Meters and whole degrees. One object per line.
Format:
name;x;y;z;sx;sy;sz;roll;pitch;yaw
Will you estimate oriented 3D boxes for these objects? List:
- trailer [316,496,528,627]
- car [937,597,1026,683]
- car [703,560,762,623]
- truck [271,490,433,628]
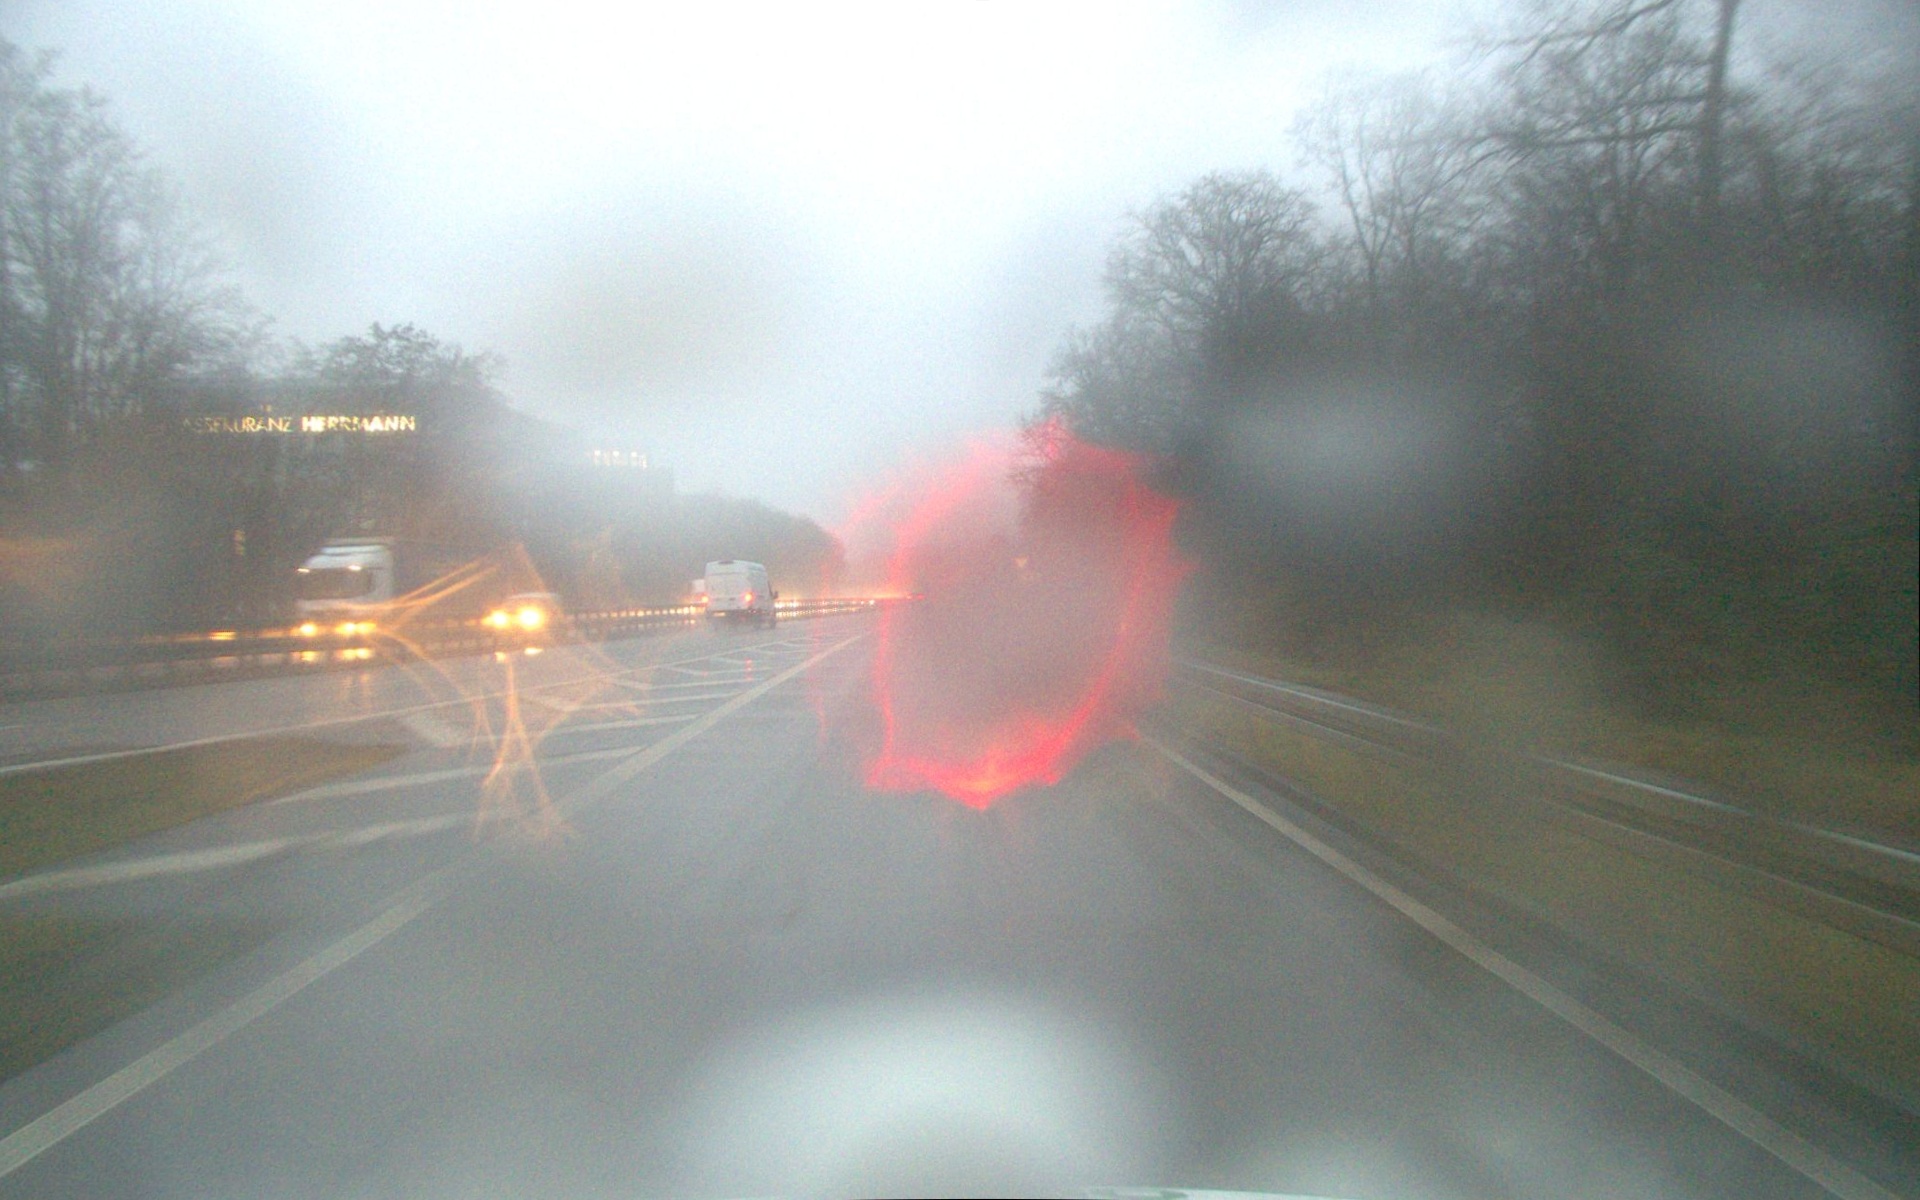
trailer;-22.397;-1.470;70.116;3.416;4.932;13.488;1;0;5
car;0.366;0.685;30.168;1.496;1.440;3.478;1;0;0
car;-9.336;-0.342;68.169;1.960;2.496;3.998;1;0;-2
truck;-23.029;-1.477;63.023;3.416;4.932;6.034;1;0;5
